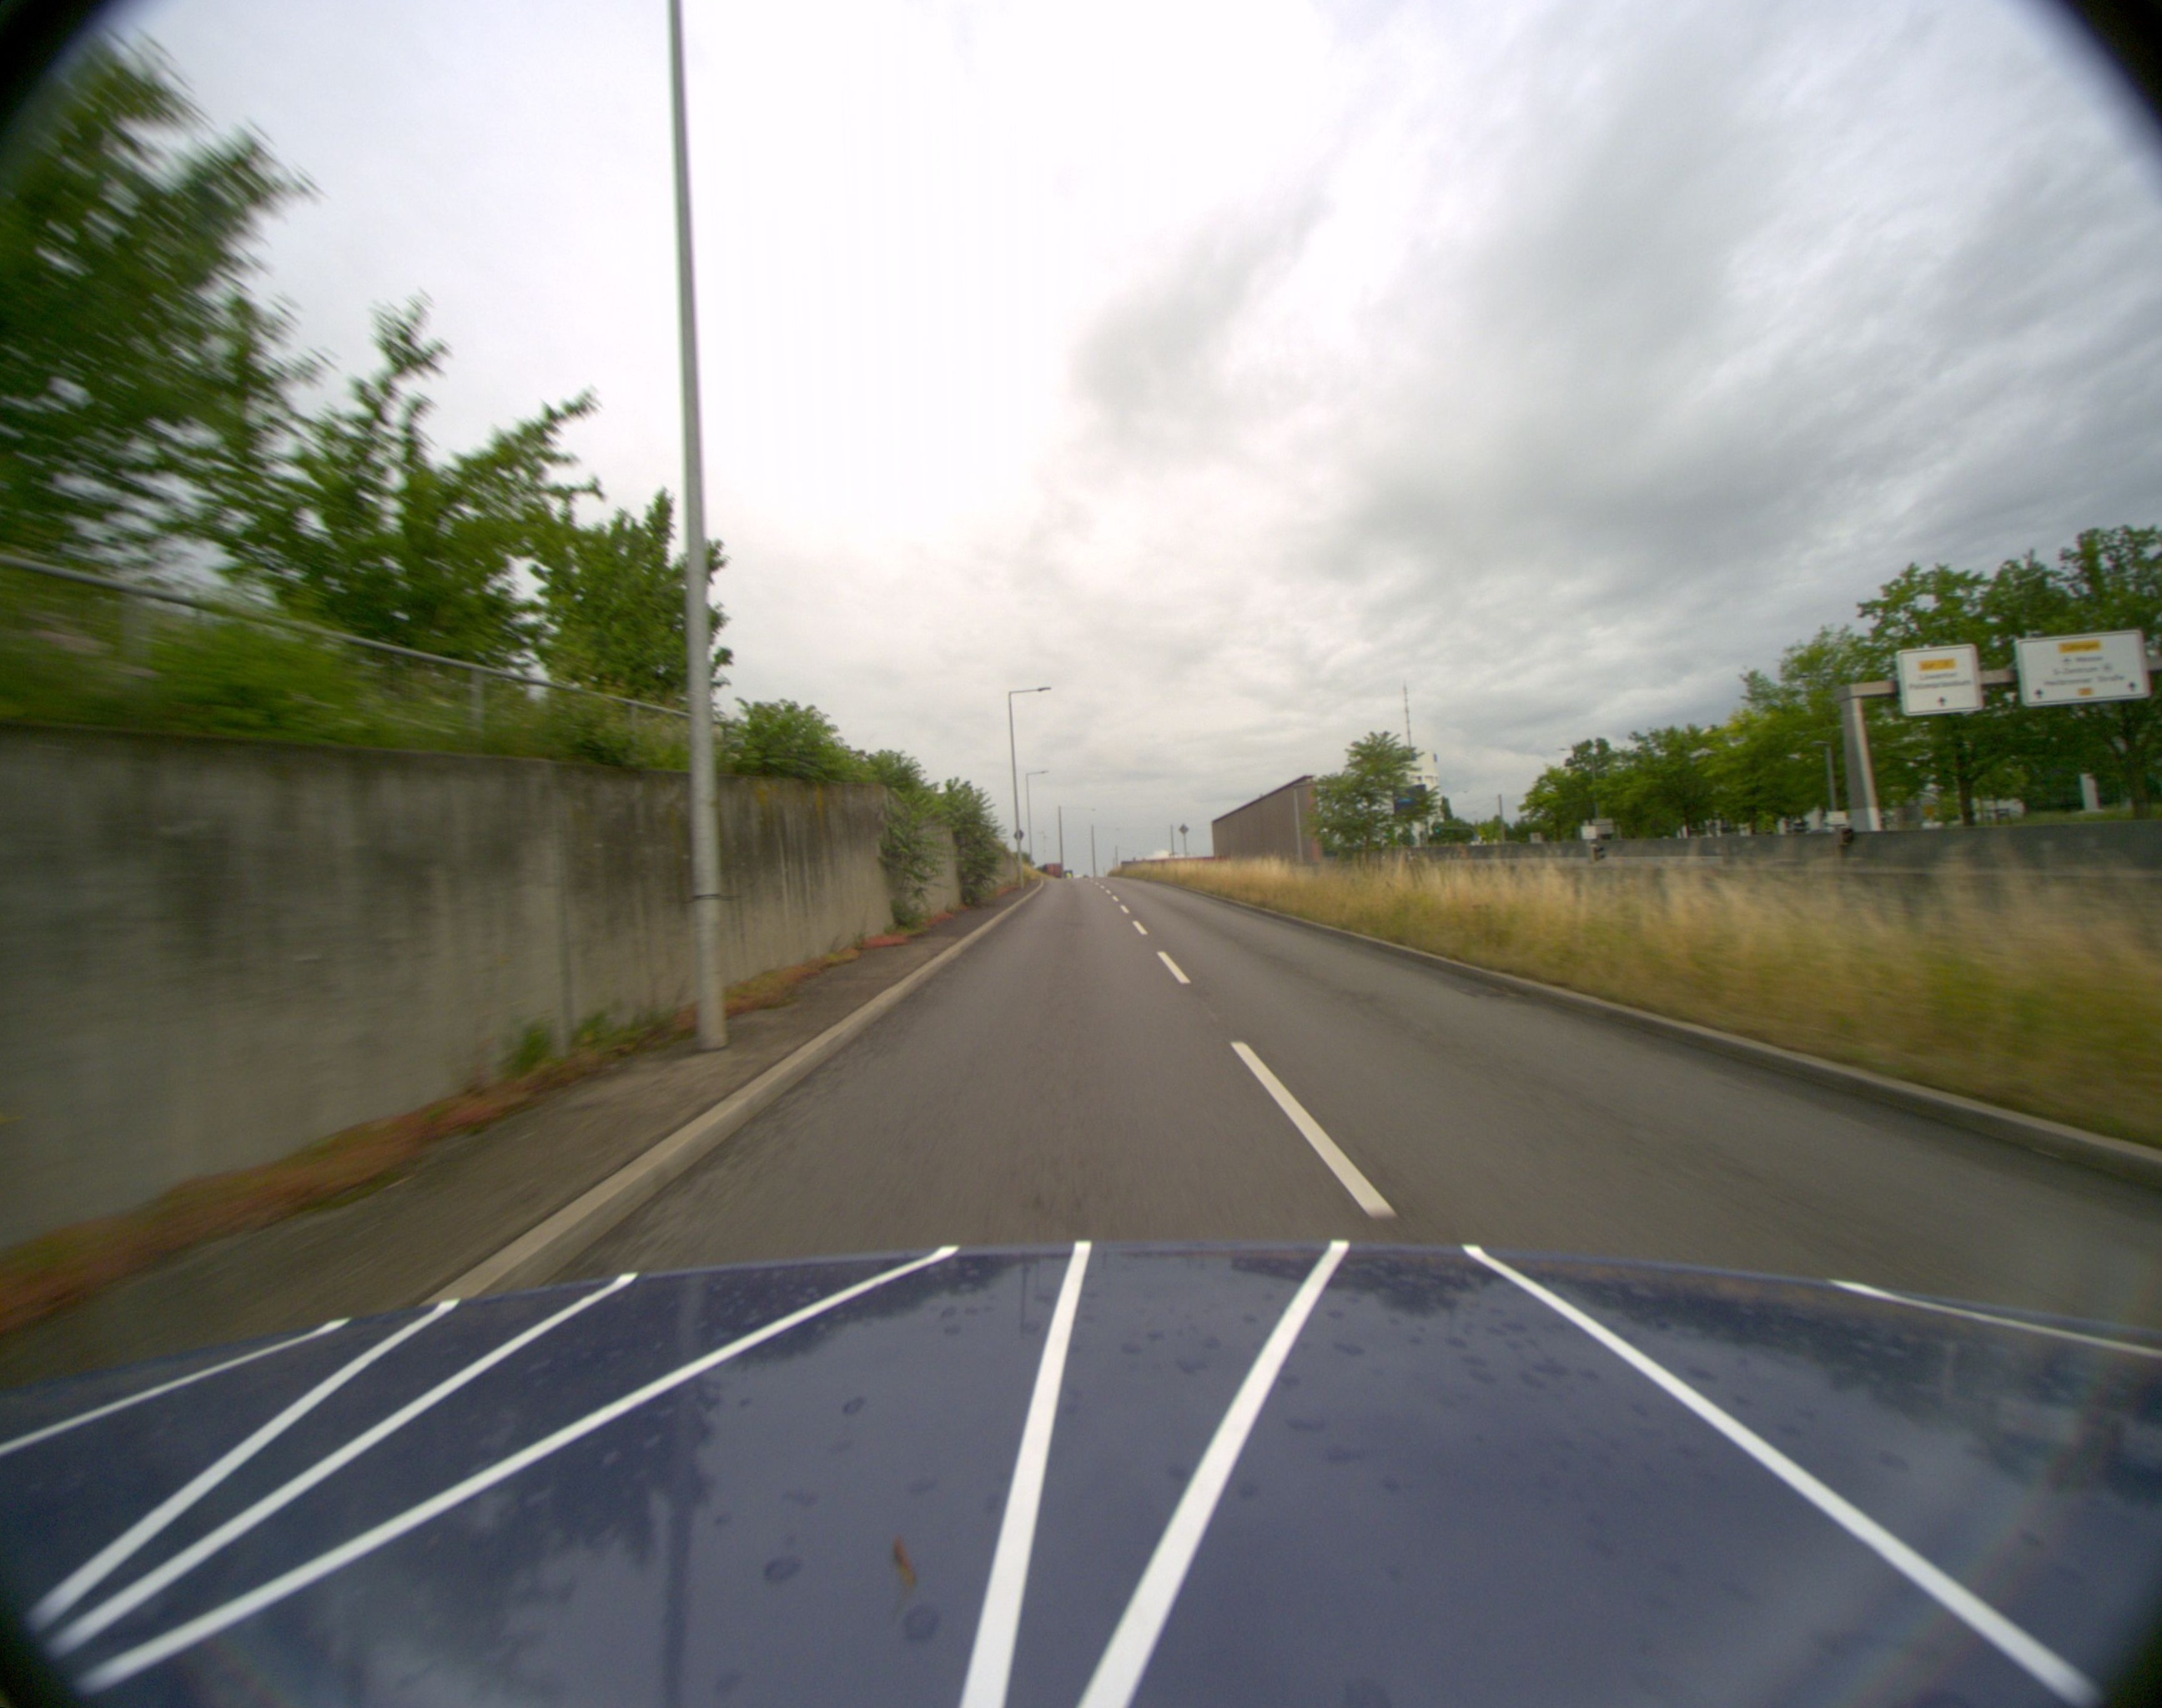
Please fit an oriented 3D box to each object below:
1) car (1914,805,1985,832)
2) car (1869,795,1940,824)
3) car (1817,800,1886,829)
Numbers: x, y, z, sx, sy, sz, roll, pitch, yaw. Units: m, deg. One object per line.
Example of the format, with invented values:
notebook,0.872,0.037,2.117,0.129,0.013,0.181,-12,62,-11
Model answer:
car,81.589,-3.300,71.434,3.992,1.836,2.004,-9,-5,41
car,77.638,-4.182,71.744,1.999,2.000,4.002,-5,-4,-4
car,72.121,-3.677,71.201,1.999,2.000,4.002,-5,-4,-4
